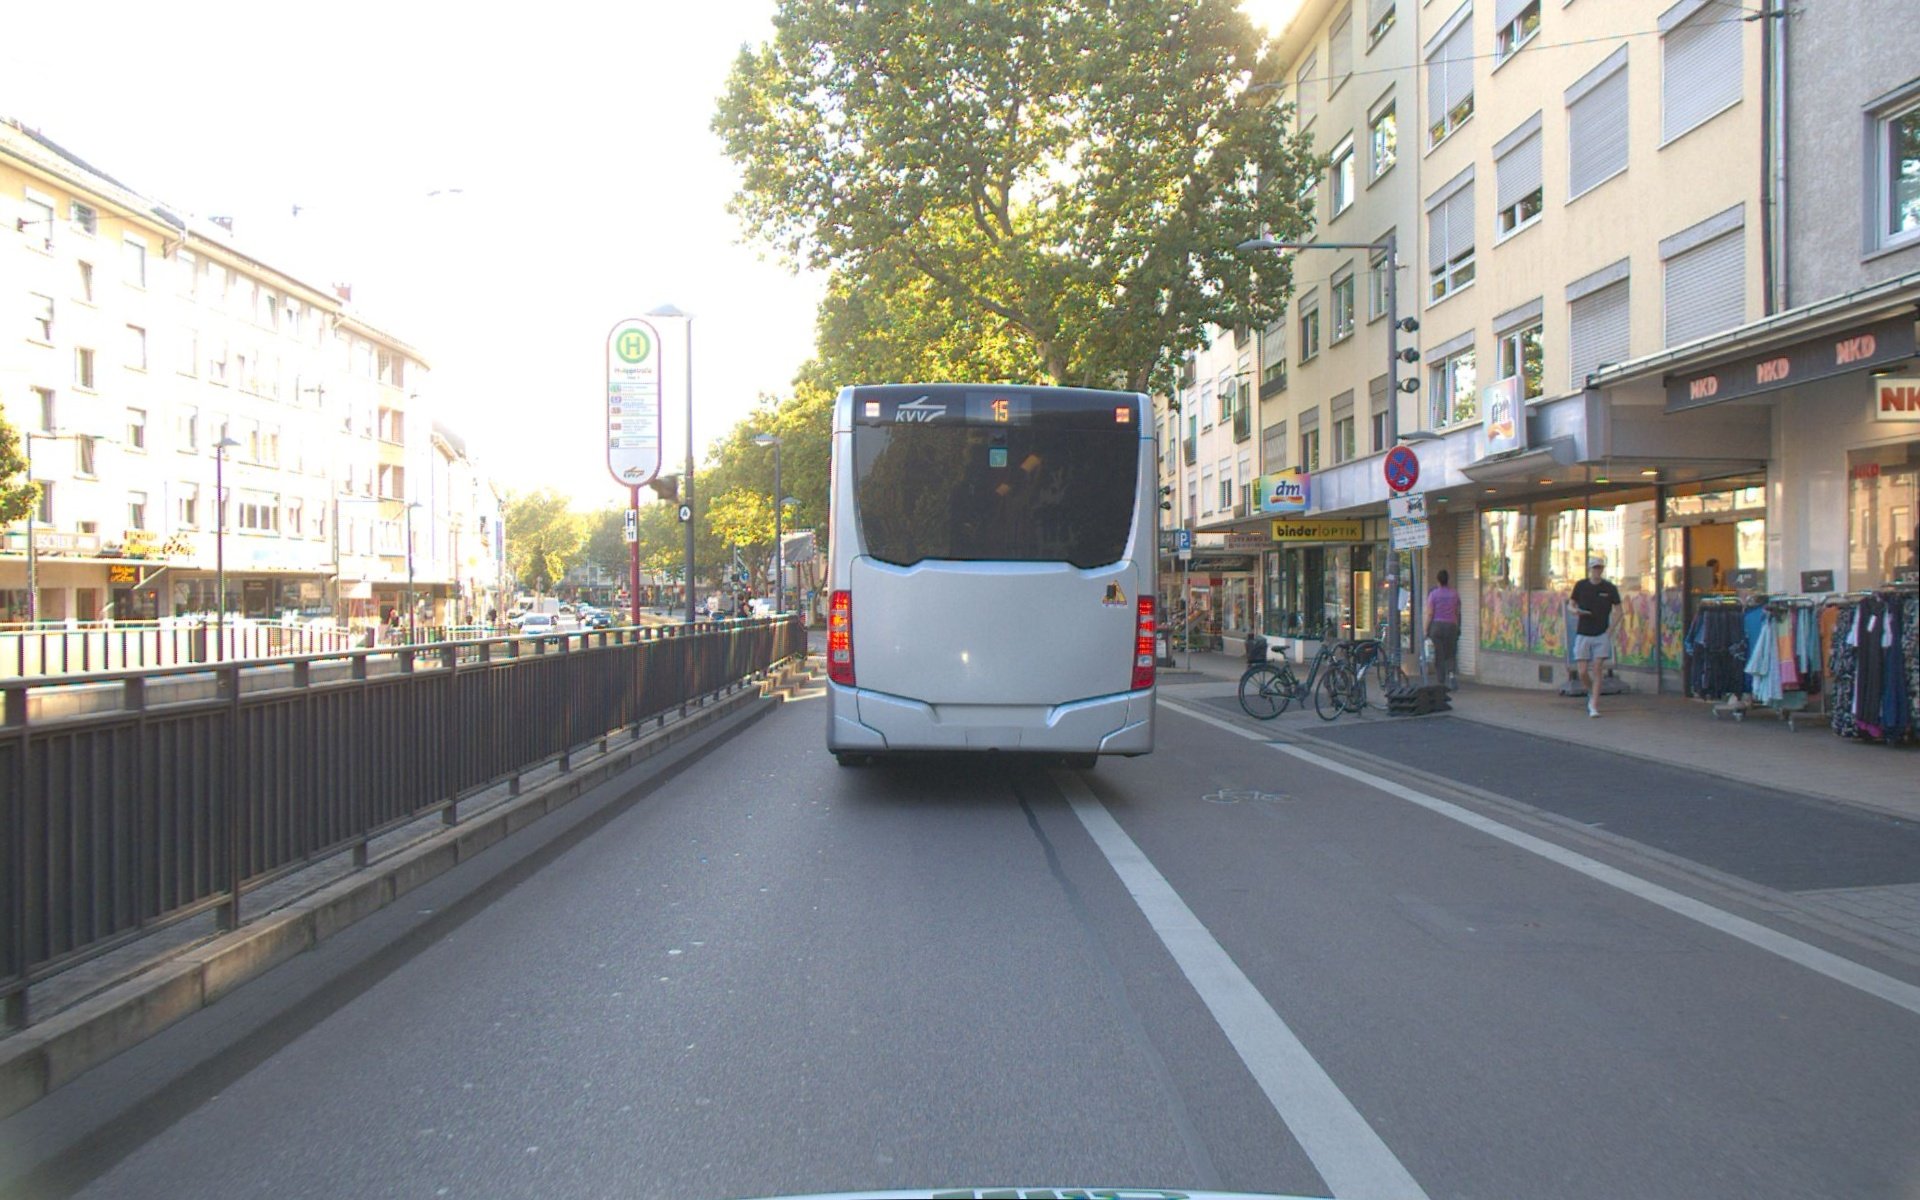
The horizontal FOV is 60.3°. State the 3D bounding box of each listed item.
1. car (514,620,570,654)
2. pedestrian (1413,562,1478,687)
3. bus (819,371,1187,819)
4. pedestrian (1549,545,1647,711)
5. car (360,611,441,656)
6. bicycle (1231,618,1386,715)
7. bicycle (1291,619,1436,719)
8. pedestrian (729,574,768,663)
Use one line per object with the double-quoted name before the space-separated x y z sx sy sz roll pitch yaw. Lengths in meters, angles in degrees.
"car" -22.206 1.939 88.011 1.953 1.680 3.999 -1 0 -1
"pedestrian" 7.298 0.360 24.862 0.709 1.827 0.766 -1 0 -1
"bus" -0.030 -0.061 16.505 2.643 3.172 9.373 0 0 -4
"pedestrian" 7.371 0.316 19.149 0.709 1.826 0.766 -4 0 -1
"car" -22.492 1.321 66.646 1.953 1.680 3.999 -1 0 -1
"bicycle" 4.633 0.877 22.095 1.848 1.096 0.754 -5 0 2
"bicycle" 5.169 0.870 21.205 1.678 1.096 0.589 -5 0 -19
"pedestrian" -6.251 0.542 48.944 0.870 2.591 1.164 -1 0 6
